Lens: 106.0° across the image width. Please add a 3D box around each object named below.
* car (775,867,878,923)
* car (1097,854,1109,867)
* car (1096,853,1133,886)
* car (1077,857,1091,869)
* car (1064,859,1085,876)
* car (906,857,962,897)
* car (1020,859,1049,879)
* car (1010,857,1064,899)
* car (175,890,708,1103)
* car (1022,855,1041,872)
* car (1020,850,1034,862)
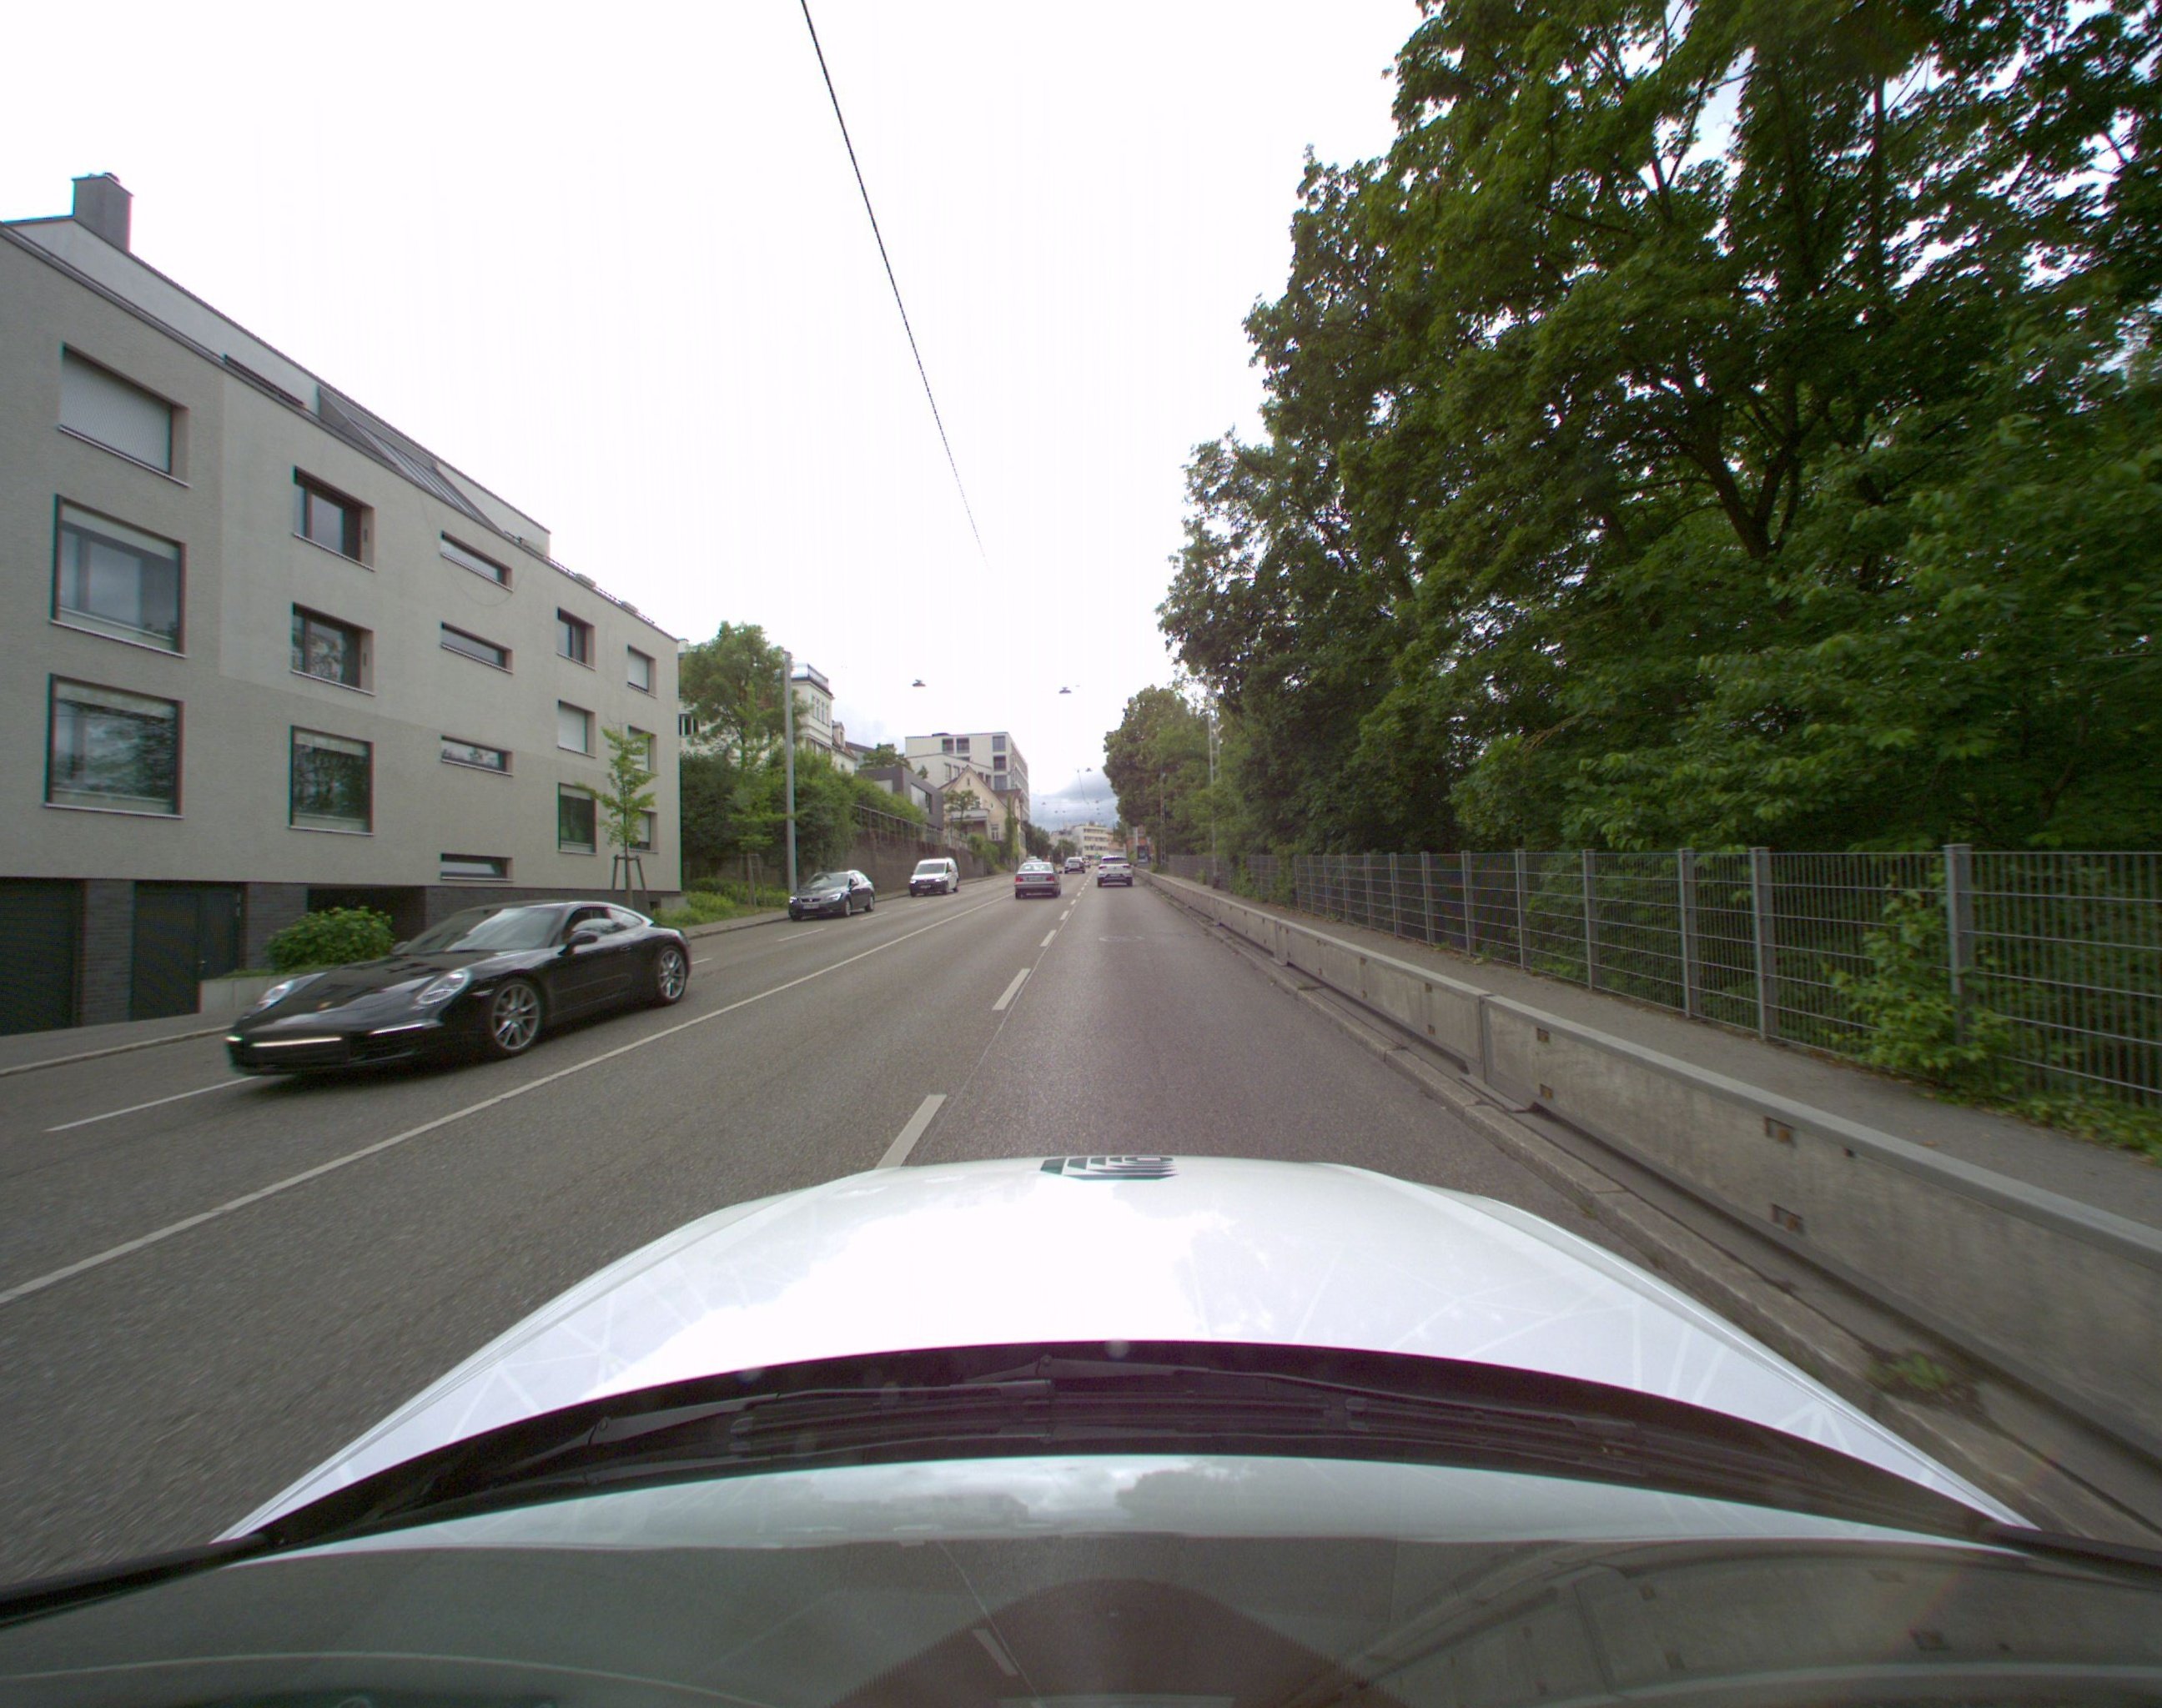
[{"bbox_3d":[-8.032,1.246,26.183,1.726,1.464,4.425,-4,0,2],"label":"car"},{"bbox_3d":[3.151,0.967,116.357,1.650,1.765,3.288,-1,0,2],"label":"car"},{"bbox_3d":[1.661,0.780,41.947,1.774,1.579,4.000,-1,0,1],"label":"car"},{"bbox_3d":[0.415,1.168,103.732,1.700,1.464,4.001,-2,0,2],"label":"car"},{"bbox_3d":[-0.546,1.186,72.882,1.700,1.464,4.001,-2,0,2],"label":"car"},{"bbox_3d":[-7.363,1.108,41.304,1.726,1.788,4.869,-4,0,2],"label":"car"},{"bbox_3d":[-3.745,1.171,66.062,1.809,1.386,4.464,-4,0,2],"label":"car"},{"bbox_3d":[-1.660,0.898,31.961,1.700,1.464,4.001,-2,0,2],"label":"car"},{"bbox_3d":[-5.577,1.121,7.967,1.747,1.269,4.193,-3,0,2],"label":"car"},{"bbox_3d":[-5.811,1.108,95.765,1.810,1.784,4.497,-3,0,2],"label":"car"},{"bbox_3d":[-8.238,0.244,124.133,1.989,1.701,3.996,-2,0,-2],"label":"car"}]
